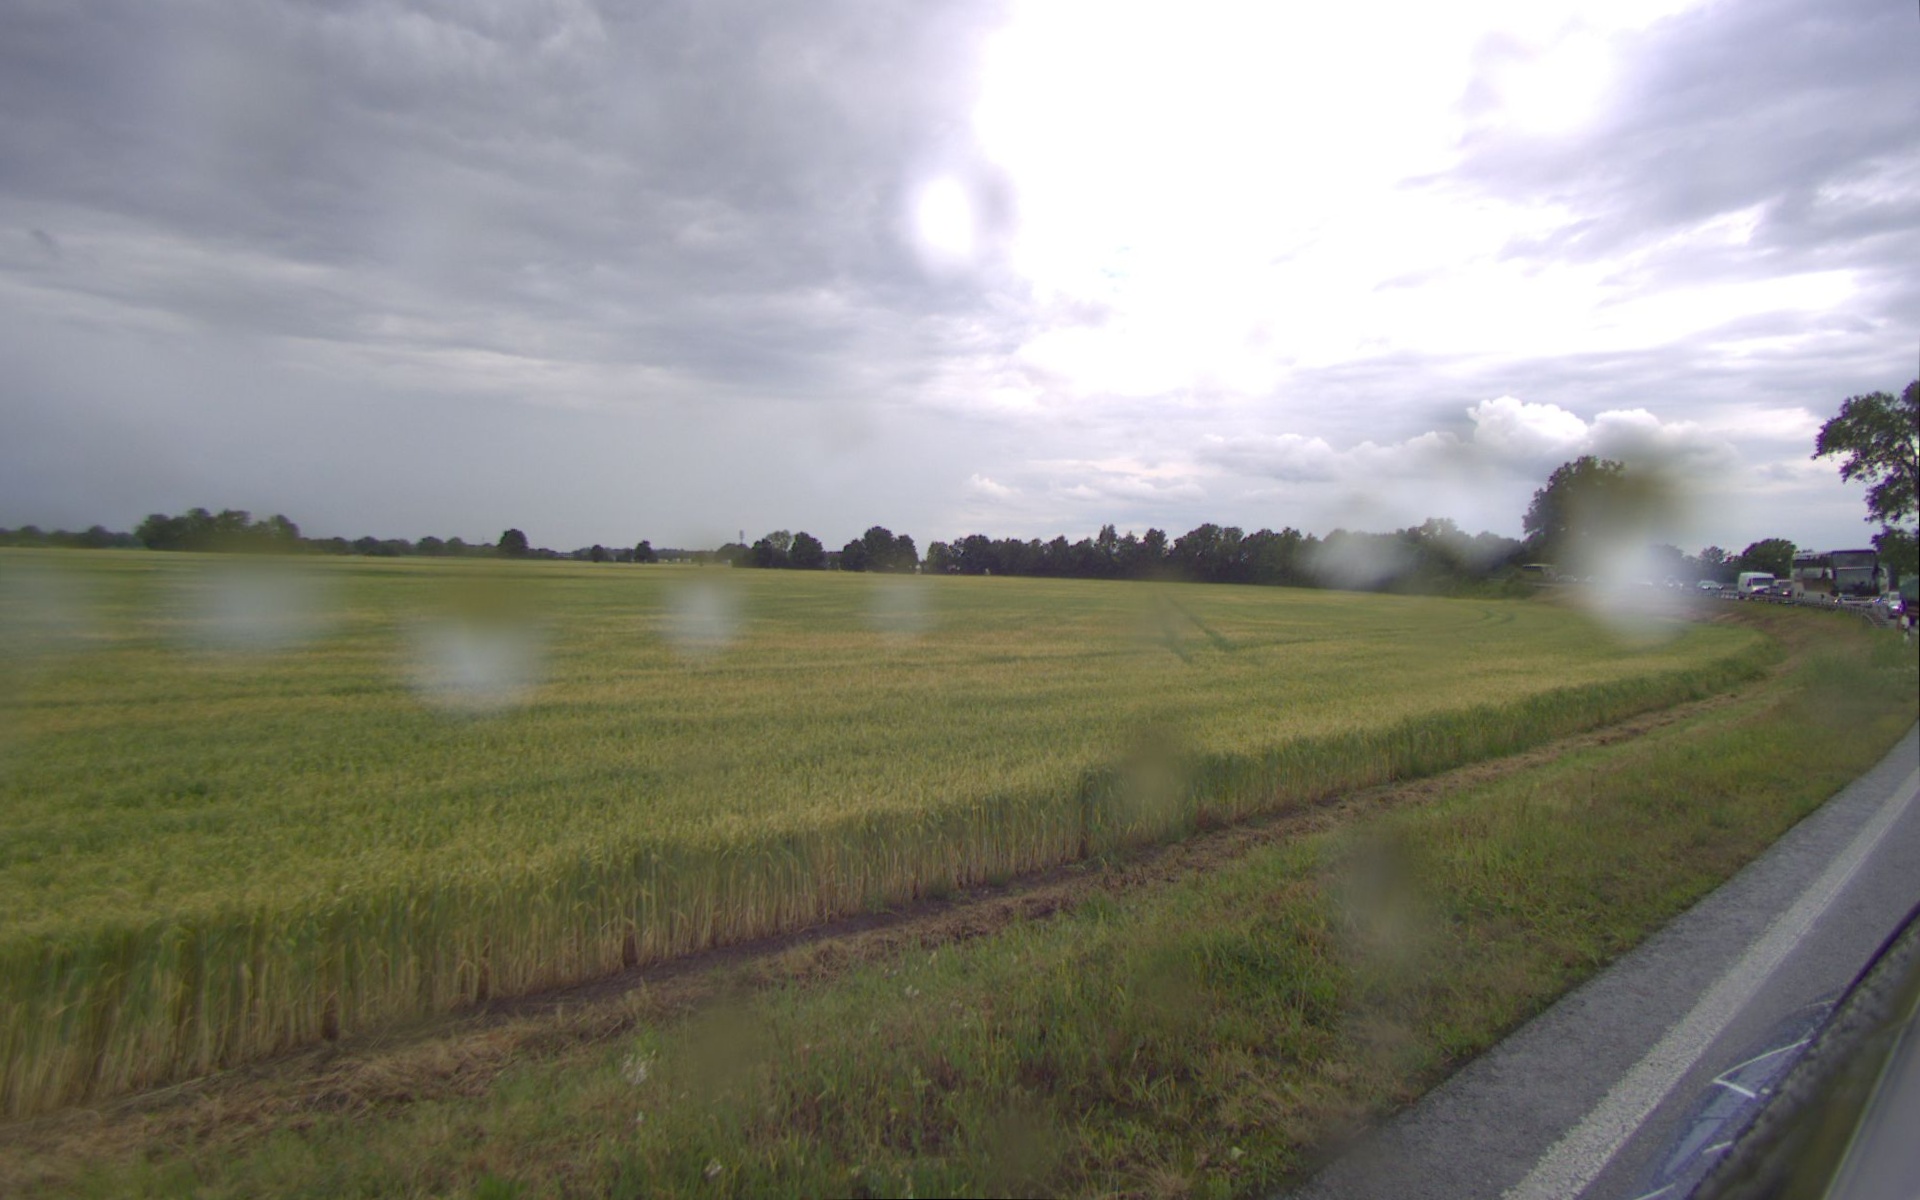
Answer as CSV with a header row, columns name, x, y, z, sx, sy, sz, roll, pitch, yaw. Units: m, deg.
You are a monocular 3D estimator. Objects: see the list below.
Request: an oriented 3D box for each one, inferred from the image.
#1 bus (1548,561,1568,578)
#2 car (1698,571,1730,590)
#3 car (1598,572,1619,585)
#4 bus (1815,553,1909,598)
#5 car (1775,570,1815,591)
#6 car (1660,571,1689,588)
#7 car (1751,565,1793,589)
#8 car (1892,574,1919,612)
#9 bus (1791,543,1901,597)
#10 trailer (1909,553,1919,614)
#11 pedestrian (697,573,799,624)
name,x,y,z,sx,sy,sz,roll,pitch,yaw
bus,111.874,-5.698,189.304,1.975,2.951,6.962,-2,1,21
car,83.382,-2.152,111.985,1.978,2.039,4.198,-1,1,24
car,103.209,-3.446,161.067,1.976,2.039,4.203,-2,1,21
bus,73.162,-1.880,82.406,2.741,3.339,12.380,-1,0,28
car,69.630,-1.637,84.415,1.798,1.597,3.961,-1,1,28
car,89.608,-2.616,127.003,1.976,2.039,4.203,-2,1,21
car,74.694,-2.123,93.167,1.981,2.039,5.286,-1,1,27
car,51.630,-0.409,54.006,2.030,1.866,5.270,-1,1,35
bus,62.089,-2.199,71.362,2.941,3.353,14.684,-1,1,30
trailer,40.490,-0.639,40.082,2.970,2.666,15.465,-1,1,39
pedestrian,-9.005,-0.098,43.202,1.987,2.039,3.950,-1,1,35
